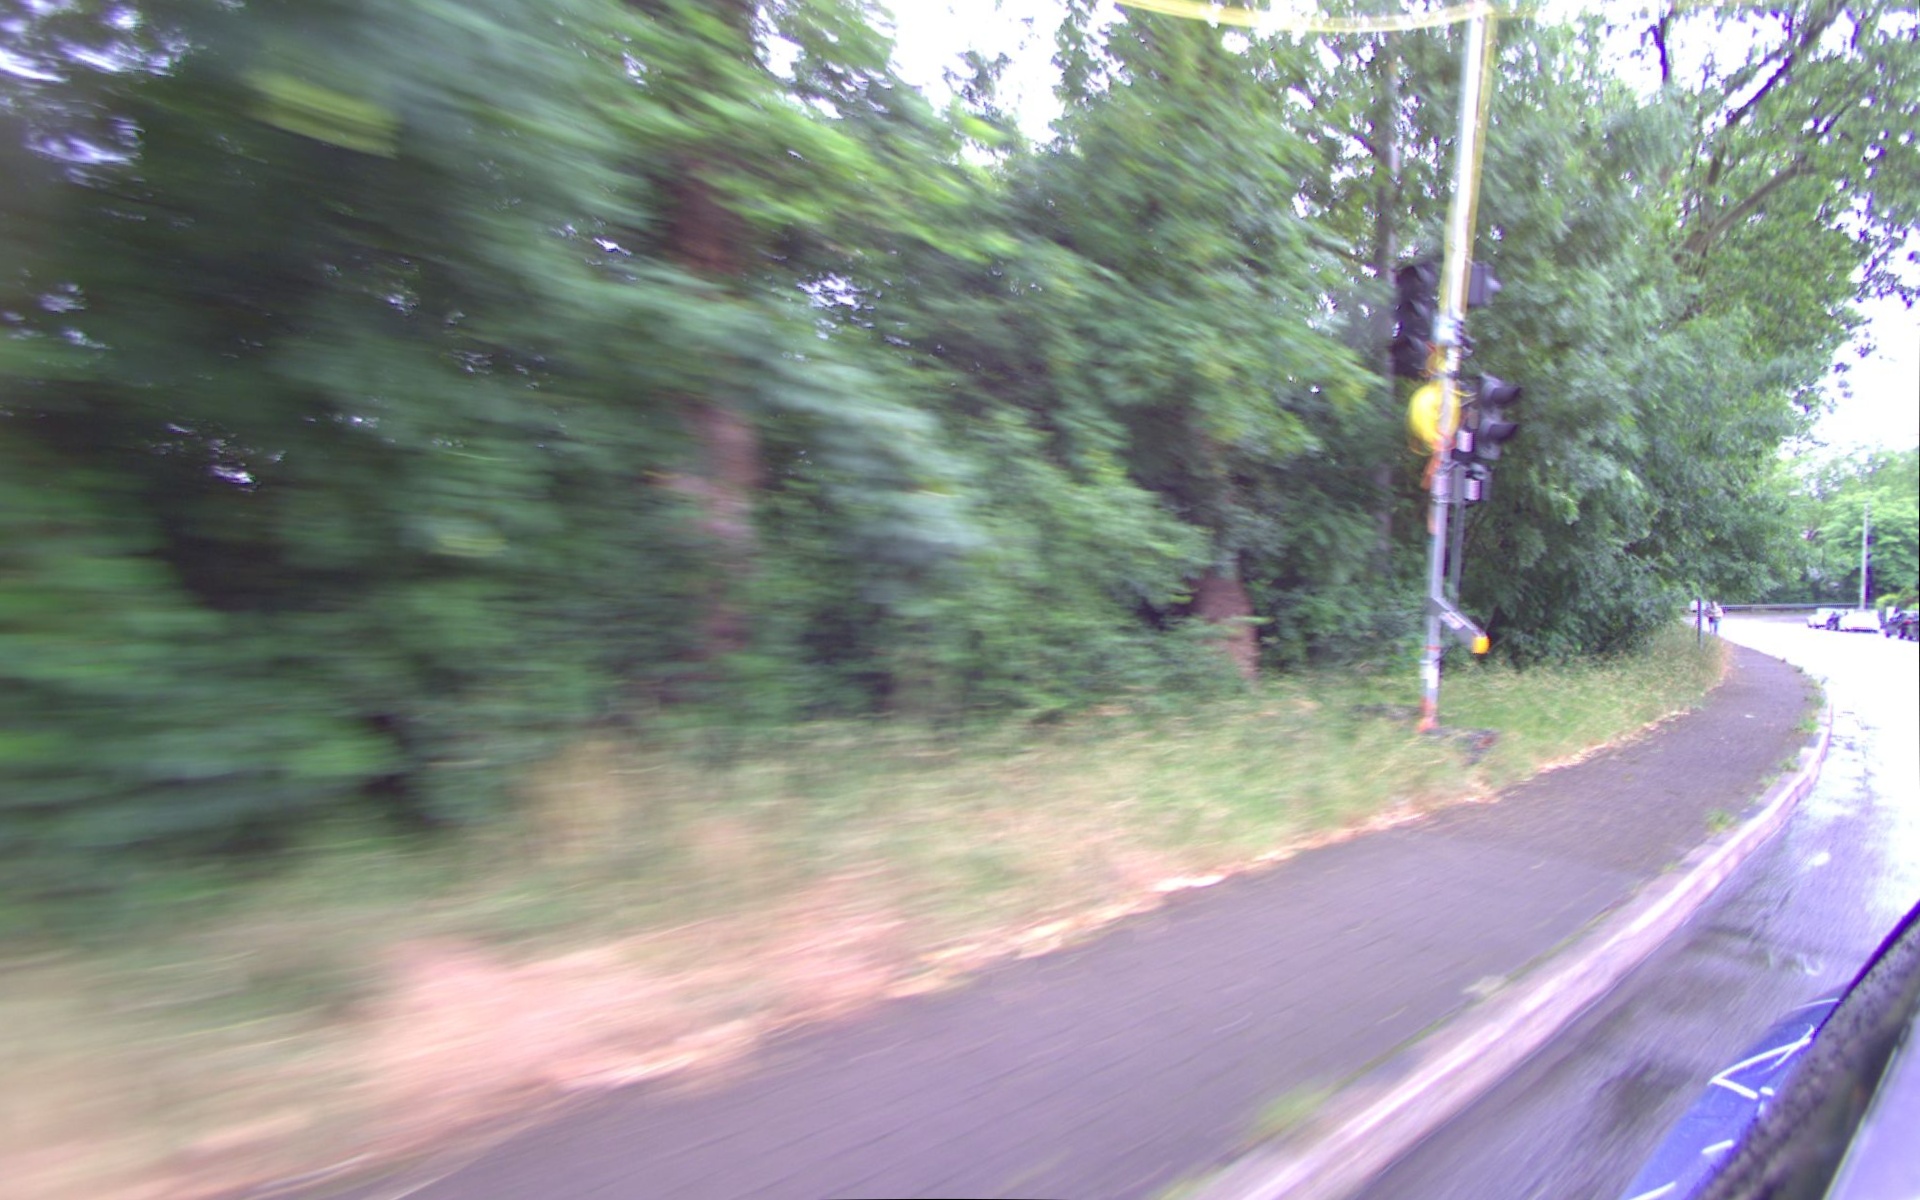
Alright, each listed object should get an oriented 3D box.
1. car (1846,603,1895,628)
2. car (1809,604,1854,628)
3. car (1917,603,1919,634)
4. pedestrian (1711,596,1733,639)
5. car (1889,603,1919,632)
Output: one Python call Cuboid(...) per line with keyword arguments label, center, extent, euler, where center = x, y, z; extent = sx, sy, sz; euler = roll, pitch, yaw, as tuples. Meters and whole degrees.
Cuboid(label="car", center=(57.667, 0.940, 64.133), extent=(1.691, 1.486, 3.668), euler=(1, 0, 32))
Cuboid(label="car", center=(62.583, 1.151, 72.733), extent=(1.725, 1.439, 4.235), euler=(-4, 0, 32))
Cuboid(label="car", center=(46.920, 0.920, 48.148), extent=(1.514, 1.472, 2.992), euler=(3, 1, 34))
Cuboid(label="pedestrian", center=(29.502, 0.651, 39.187), extent=(0.639, 1.631, 0.662), euler=(1, 1, 33))
Cuboid(label="car", center=(49.345, 0.919, 51.852), extent=(1.680, 1.436, 4.168), euler=(3, 1, 31))
